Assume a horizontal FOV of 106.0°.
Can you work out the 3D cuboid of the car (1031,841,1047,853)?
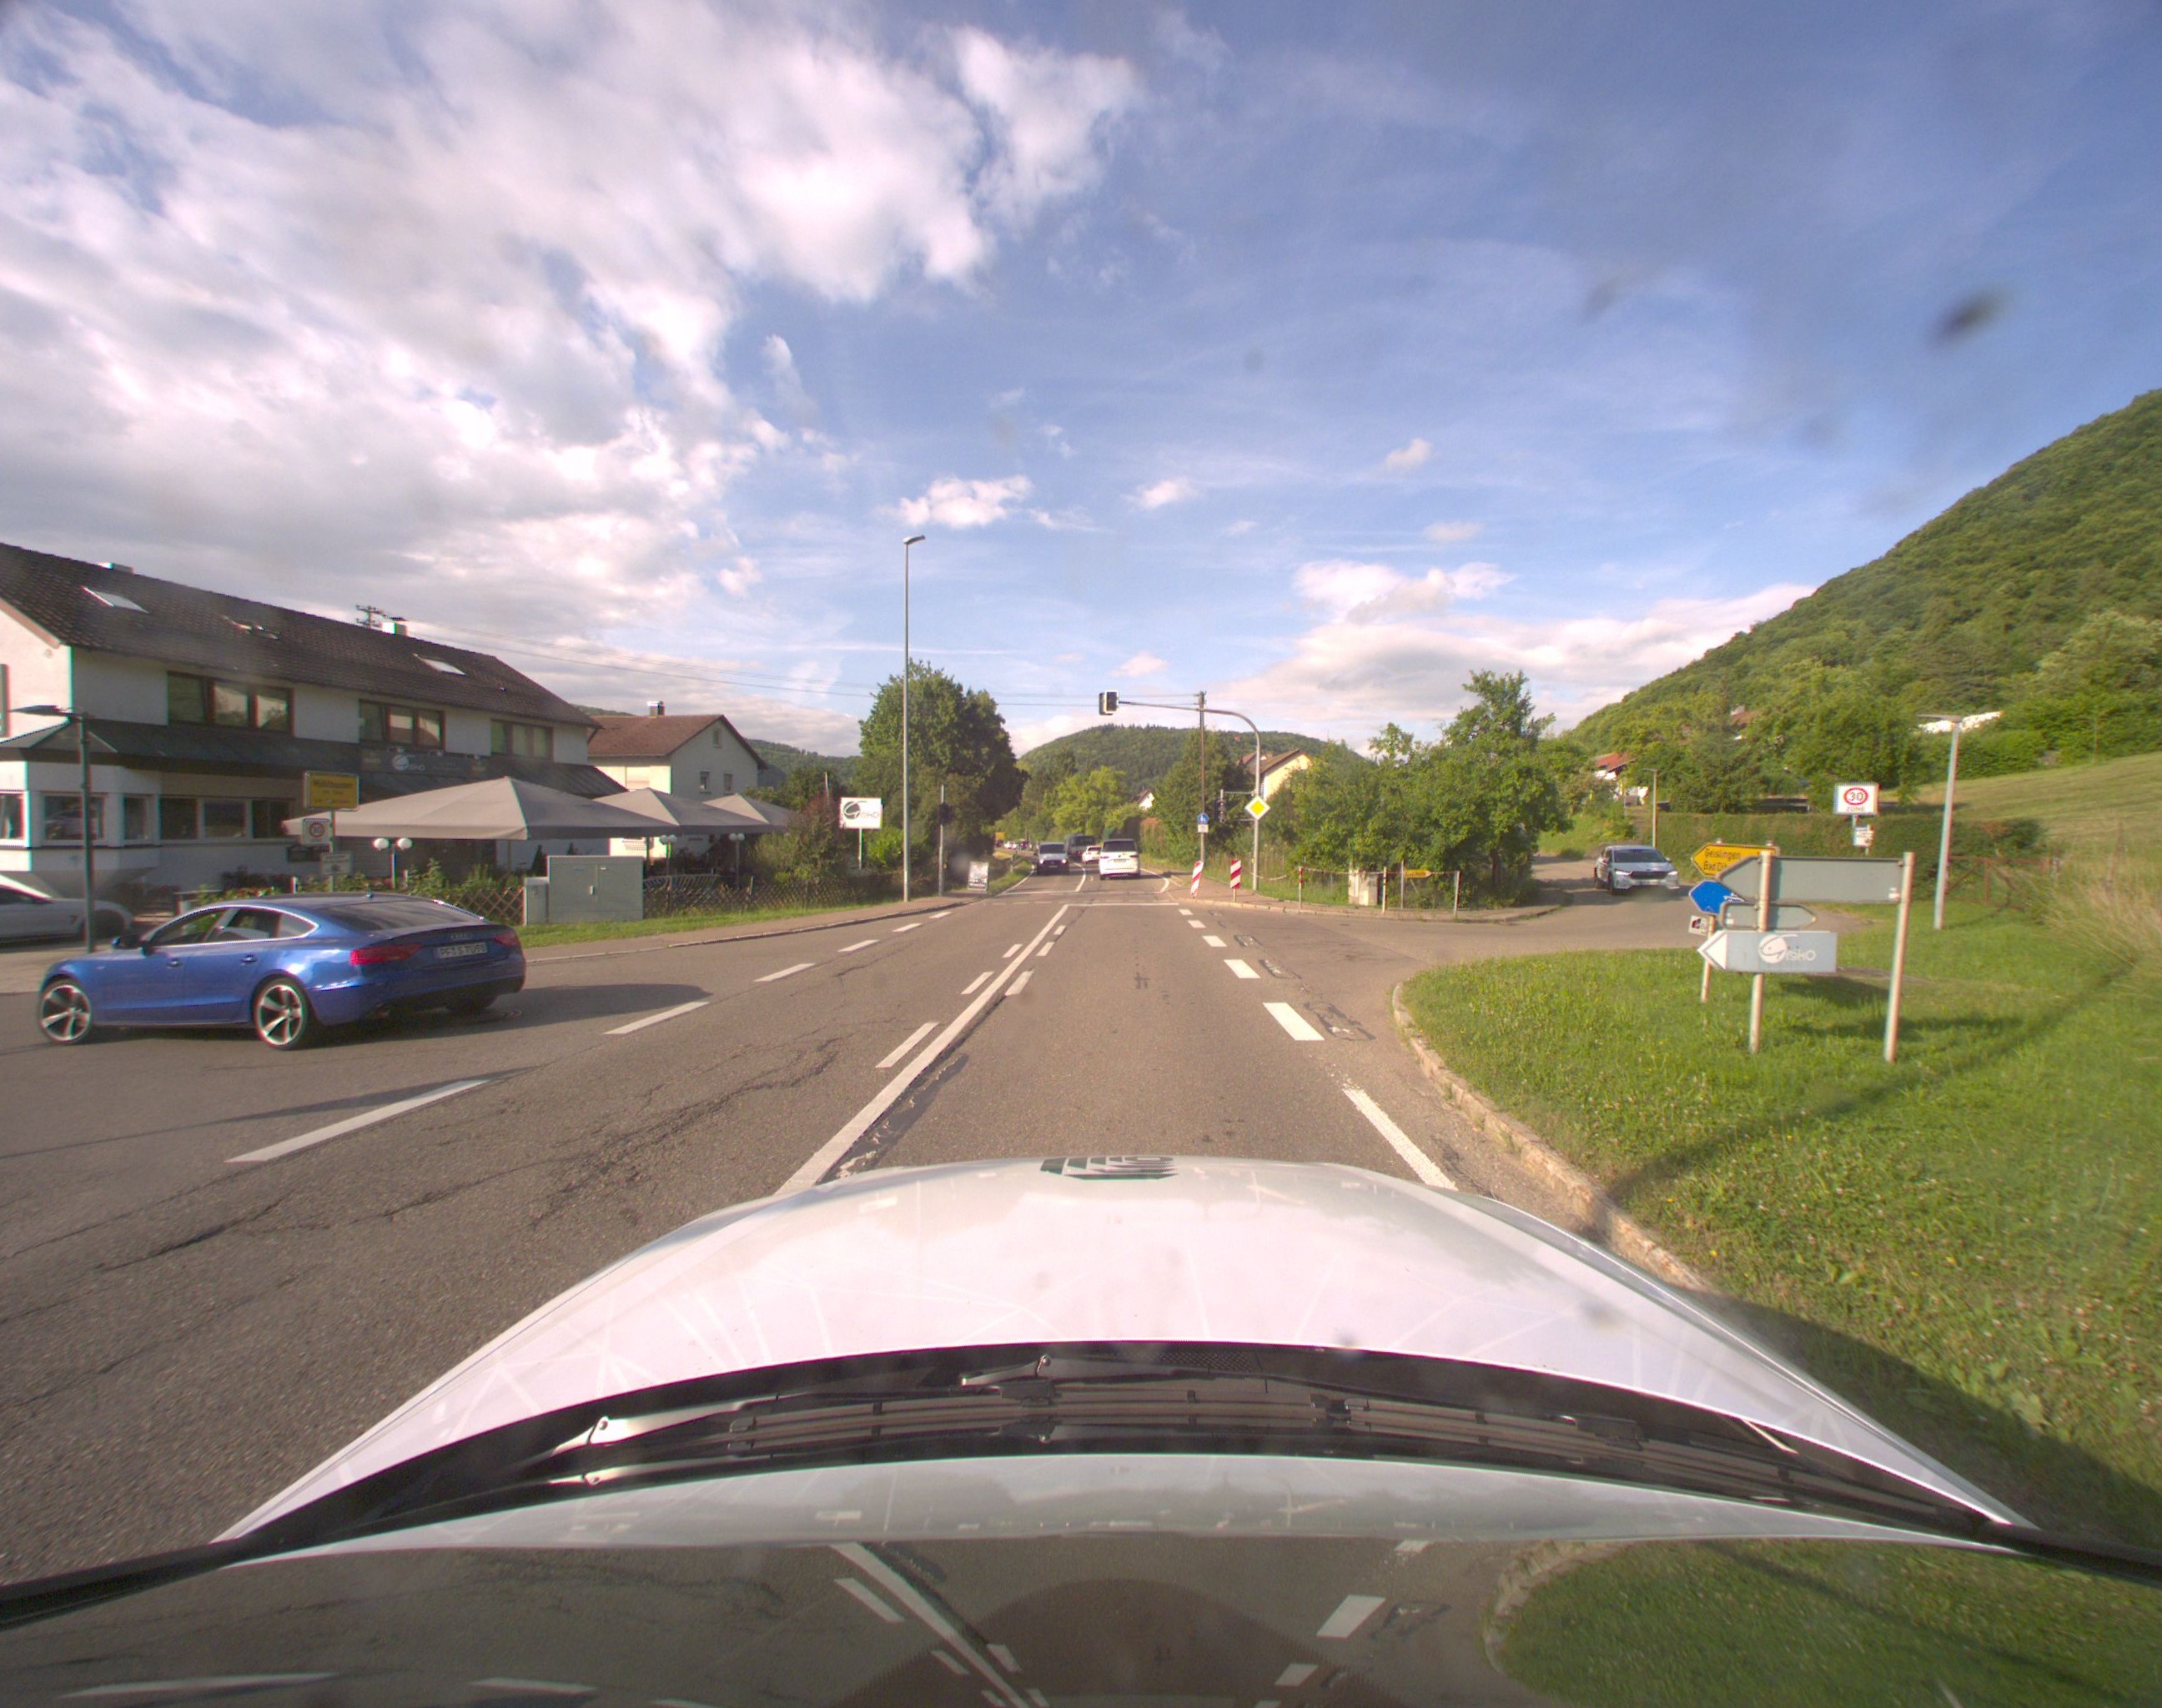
[{"bbox_3d":[-6.610,-1.082,127.419,1.798,1.793,3.982,-1,1,-13],"label":"car"}]

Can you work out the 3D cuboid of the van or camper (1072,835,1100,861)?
[{"bbox_3d":[0.420,-0.573,77.131,2.176,2.385,5.361,-1,1,-4],"label":"van or camper"}]

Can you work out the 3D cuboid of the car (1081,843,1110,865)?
[{"bbox_3d":[1.201,-0.040,67.287,1.990,1.684,3.994,-1,1,-5],"label":"car"}]

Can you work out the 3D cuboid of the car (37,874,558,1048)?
[{"bbox_3d":[-7.909,1.004,8.357,4.182,1.409,1.843,-2,0,14],"label":"car"}]

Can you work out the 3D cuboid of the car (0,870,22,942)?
[{"bbox_3d":[-26.505,1.283,17.204,1.983,1.685,4.586,-2,0,7],"label":"car"}]

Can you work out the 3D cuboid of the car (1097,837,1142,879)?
[{"bbox_3d":[1.893,0.116,39.674,1.985,1.876,4.875,1,1,3],"label":"car"}]

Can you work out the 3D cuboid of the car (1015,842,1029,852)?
[{"bbox_3d":[-10.500,-1.175,143.825,2.041,1.683,3.986,-1,1,-11],"label":"car"}]

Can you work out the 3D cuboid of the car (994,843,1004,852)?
[{"bbox_3d":[-17.915,-1.437,177.308,1.773,1.782,3.985,-2,1,-11],"label":"car"}]

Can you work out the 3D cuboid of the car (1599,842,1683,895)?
[{"bbox_3d":[19.100,0.420,27.974,1.850,1.610,4.600,0,2,28],"label":"car"}]

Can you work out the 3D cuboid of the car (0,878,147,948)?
[{"bbox_3d":[-23.787,1.327,17.437,1.983,1.389,4.586,-2,1,7],"label":"car"}]

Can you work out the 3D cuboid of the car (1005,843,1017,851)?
[{"bbox_3d":[-13.820,-1.416,161.509,1.943,1.424,3.986,-1,1,-11],"label":"car"}]

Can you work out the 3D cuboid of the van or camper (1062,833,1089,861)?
[{"bbox_3d":[-0.668,-0.812,91.827,2.412,2.904,6.118,-1,1,-6],"label":"van or camper"}]

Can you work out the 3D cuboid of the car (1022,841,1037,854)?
[{"bbox_3d":[-8.551,-1.045,134.970,1.995,2.013,3.985,-1,1,-11],"label":"car"}]

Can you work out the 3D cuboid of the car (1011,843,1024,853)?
[{"bbox_3d":[-11.863,-1.099,152.460,1.943,1.684,3.985,-2,0,-11],"label":"car"}]

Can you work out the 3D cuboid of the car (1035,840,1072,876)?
[{"bbox_3d":[-1.713,0.182,48.639,1.989,1.903,5.246,-2,1,-4],"label":"car"}]
